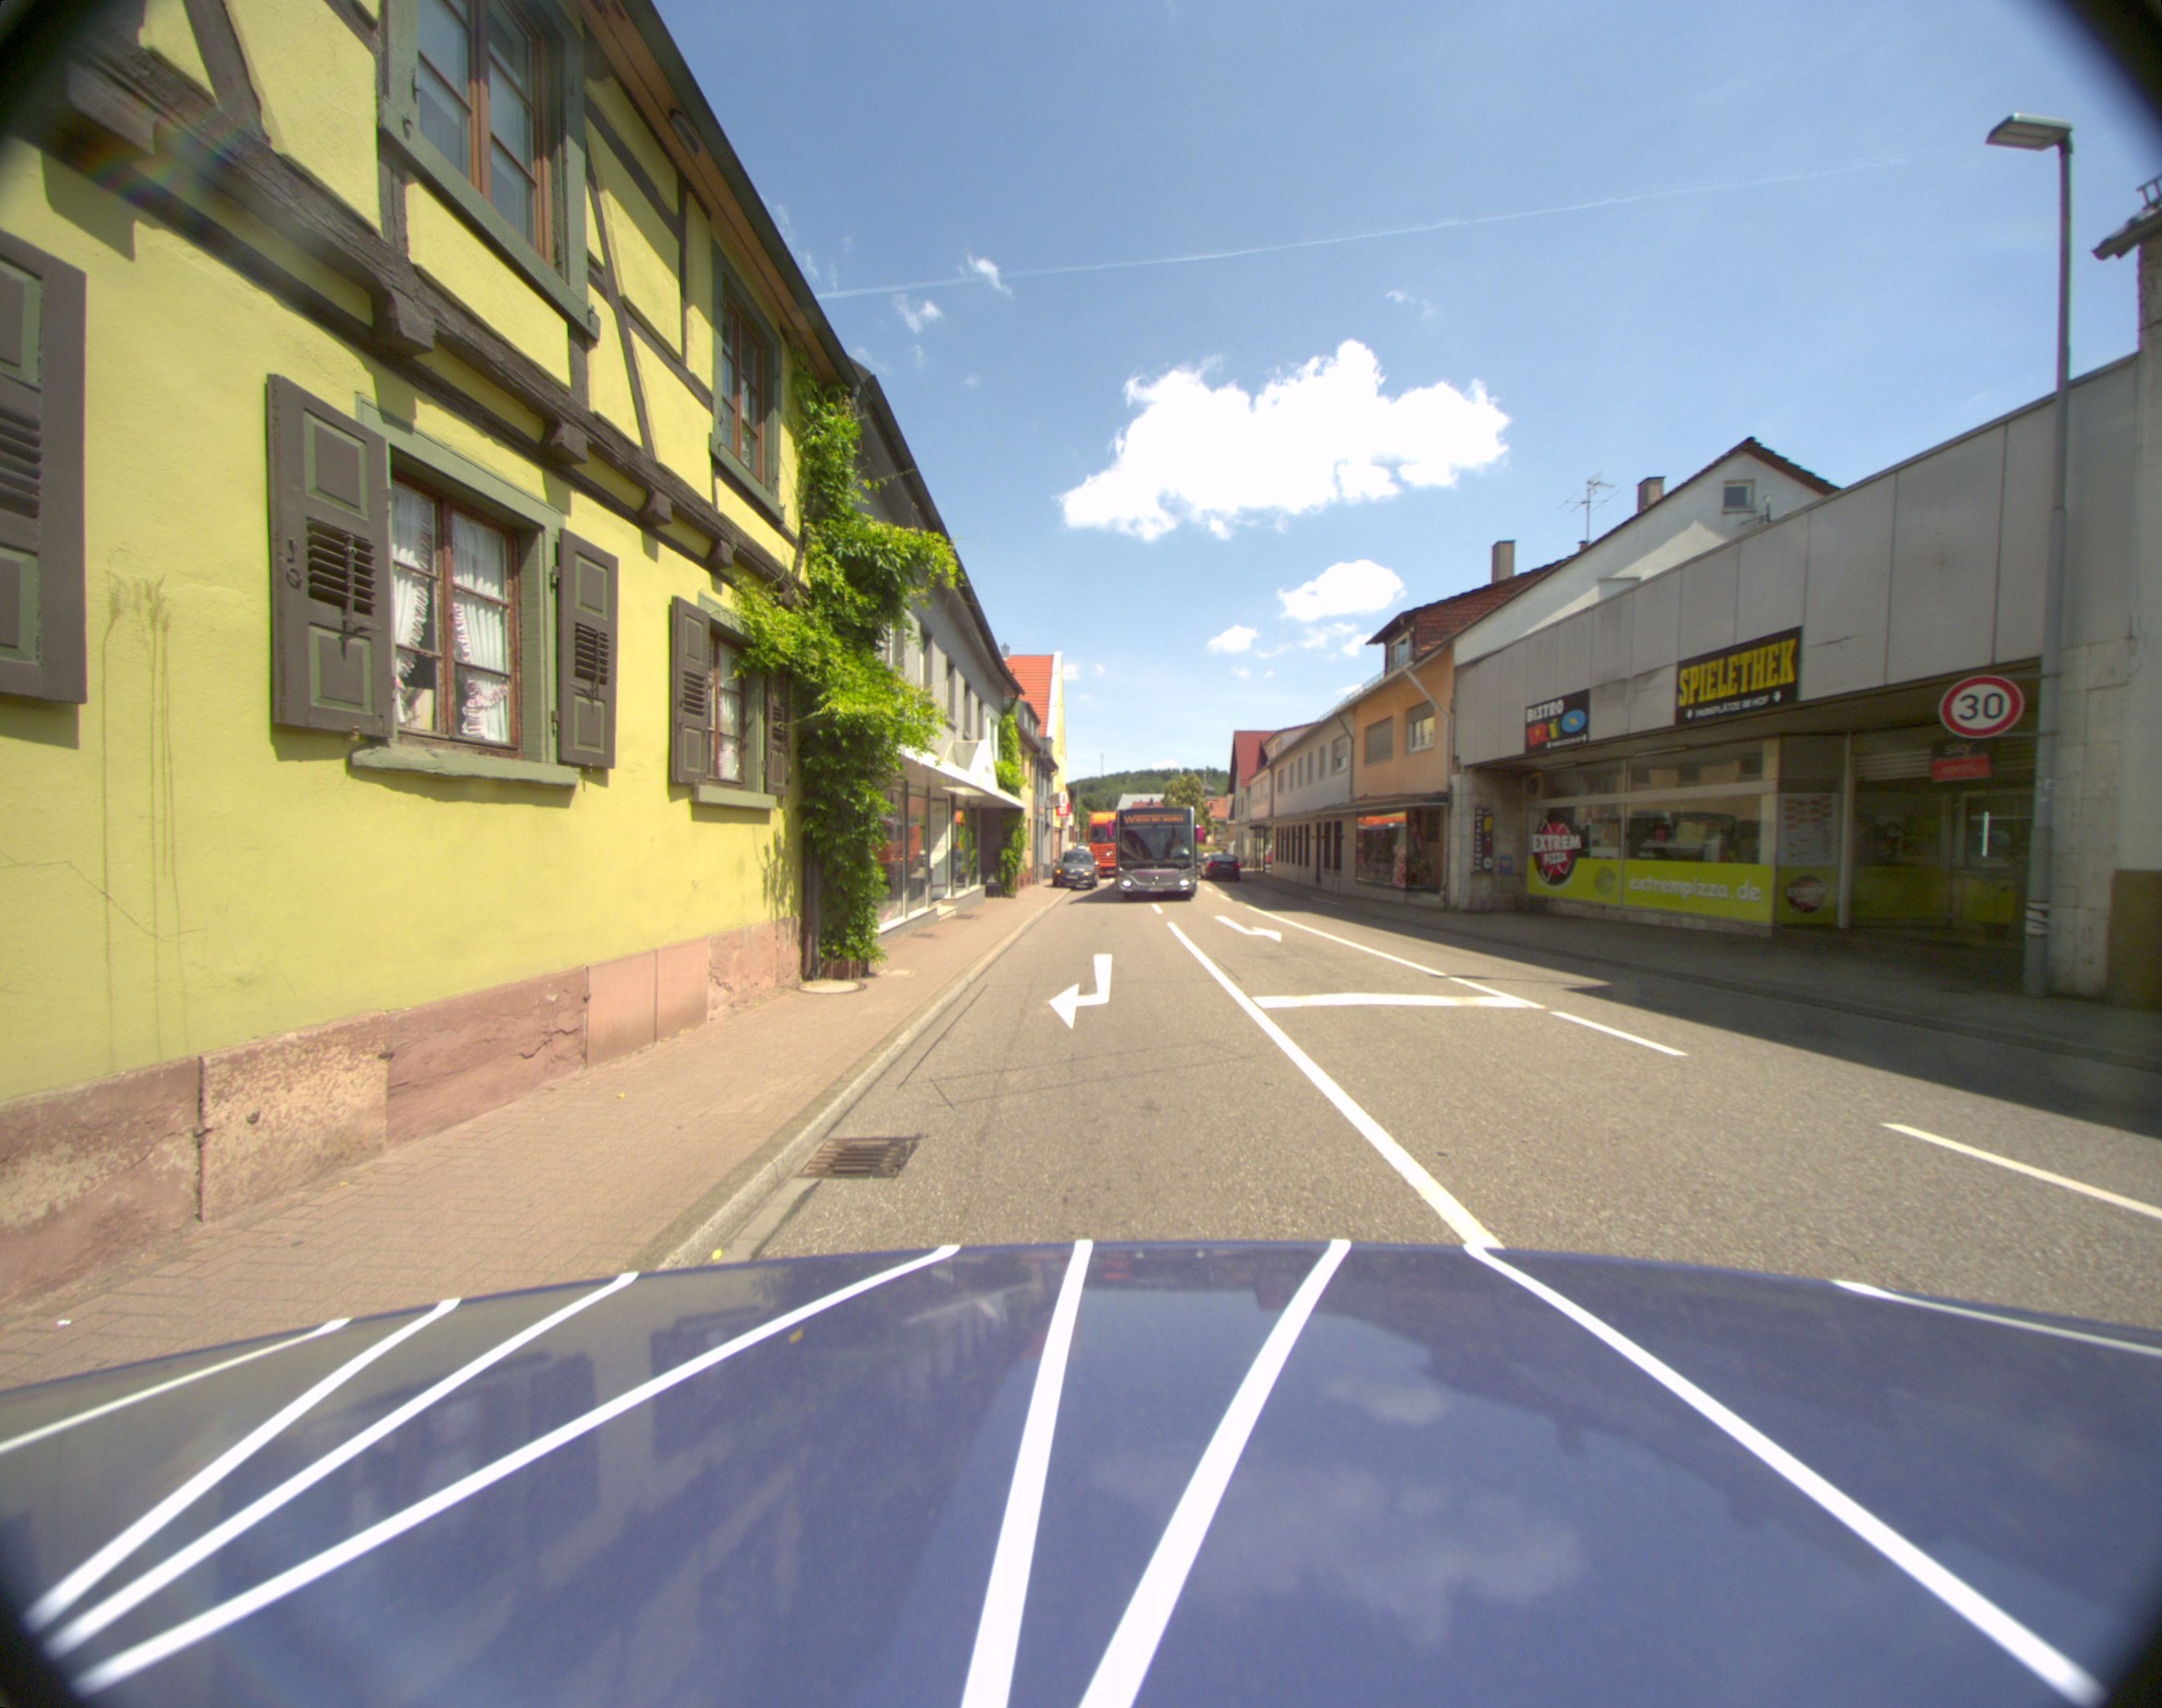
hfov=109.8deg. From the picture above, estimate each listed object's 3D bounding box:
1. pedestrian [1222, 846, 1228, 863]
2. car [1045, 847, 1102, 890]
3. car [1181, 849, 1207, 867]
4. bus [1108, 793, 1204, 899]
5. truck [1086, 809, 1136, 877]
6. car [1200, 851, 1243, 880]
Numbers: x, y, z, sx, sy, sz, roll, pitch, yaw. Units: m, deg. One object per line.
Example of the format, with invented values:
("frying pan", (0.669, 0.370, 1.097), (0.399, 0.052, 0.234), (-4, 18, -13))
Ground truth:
("pedestrian", (15.196, 0.039, 80.034), (0.471, 1.754, 0.478), (0, 2, -18))
("car", (-0.248, 0.592, 33.780), (1.997, 1.699, 4.102), (3, 1, 6))
("car", (9.129, 0.325, 61.532), (1.721, 1.414, 3.821), (2, 0, 3))
("bus", (3.495, -0.255, 32.499), (2.857, 3.186, 19.043), (-1, 0, 7))
("truck", (2.135, -0.650, 49.384), (2.614, 3.922, 9.996), (-2, 0, 5))
("car", (8.002, 0.614, 43.727), (1.801, 1.479, 4.797), (3, 1, 3))
